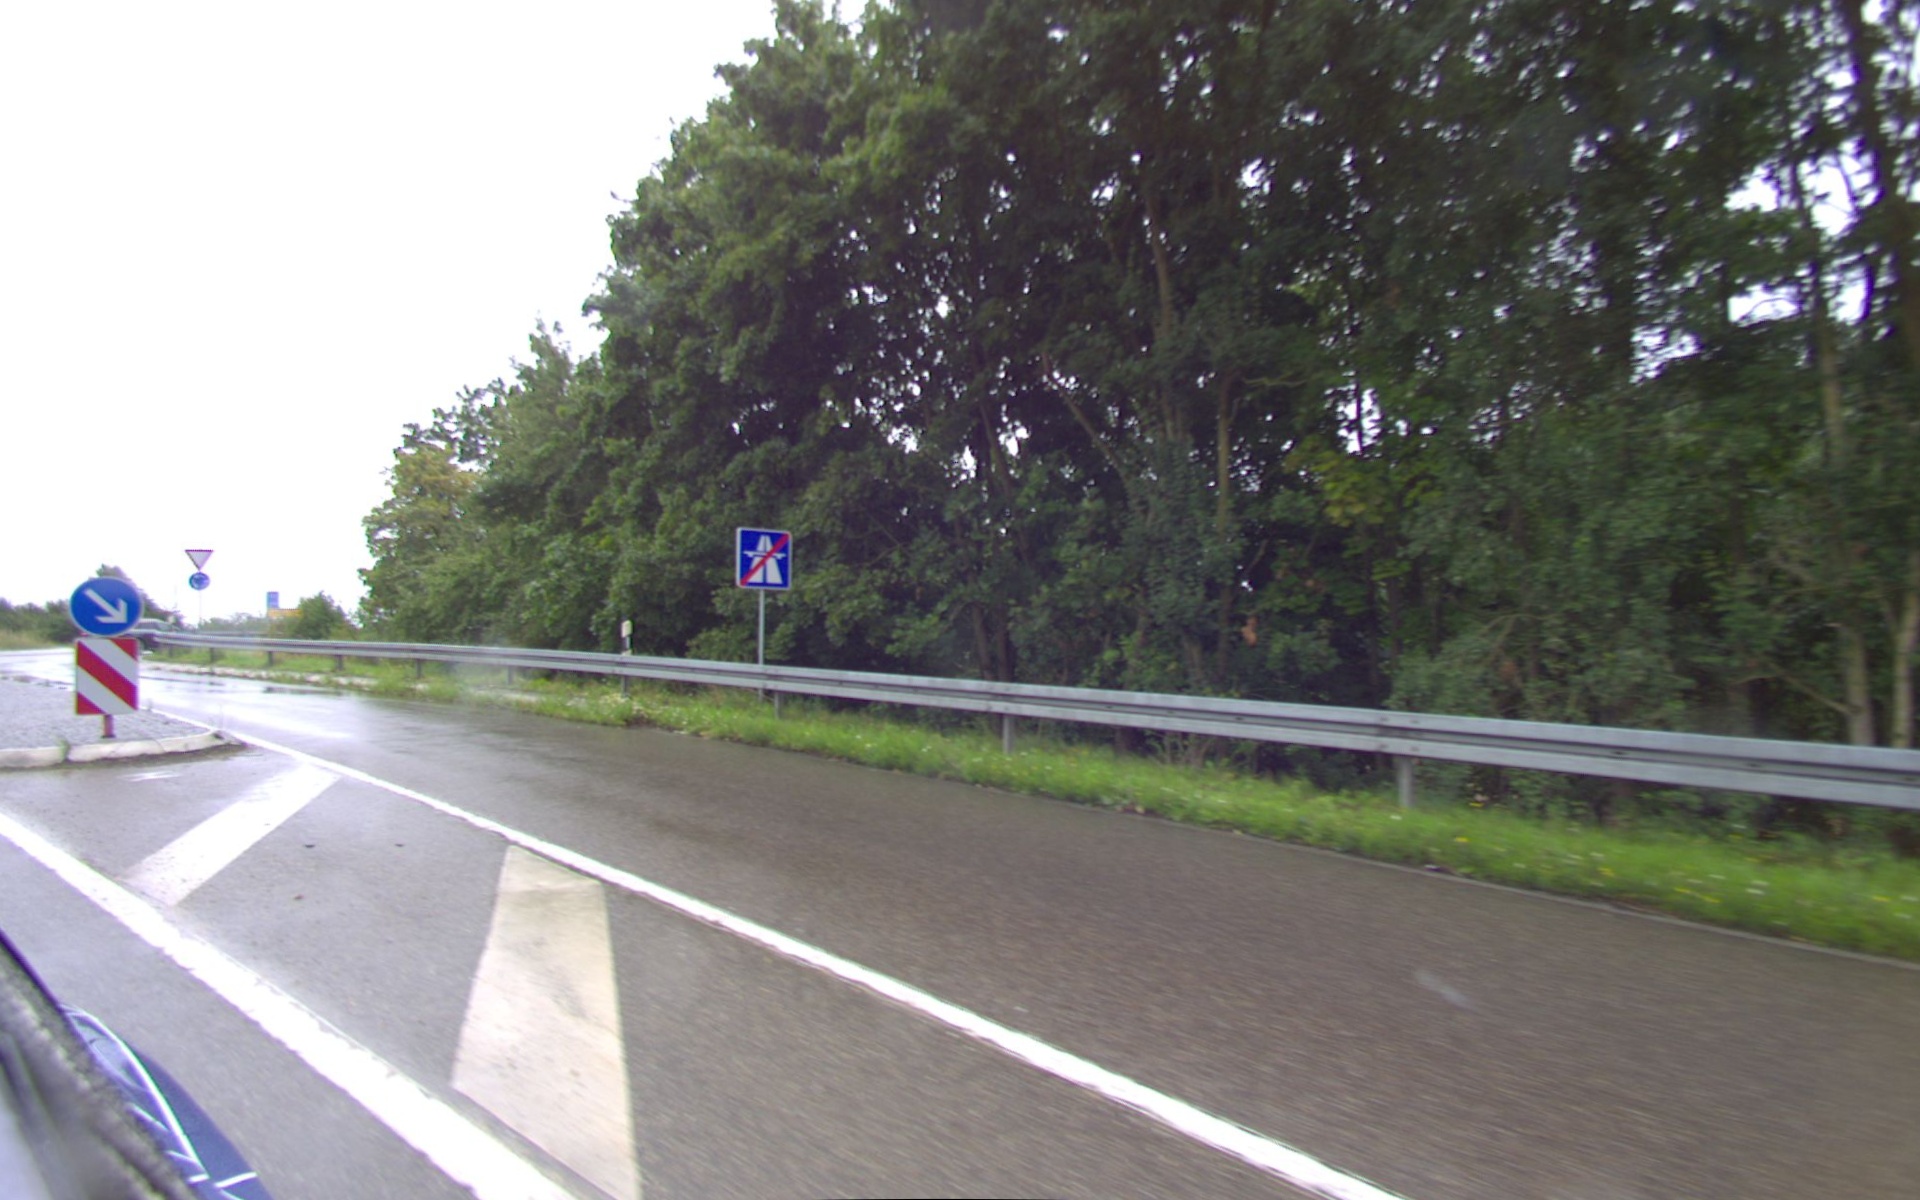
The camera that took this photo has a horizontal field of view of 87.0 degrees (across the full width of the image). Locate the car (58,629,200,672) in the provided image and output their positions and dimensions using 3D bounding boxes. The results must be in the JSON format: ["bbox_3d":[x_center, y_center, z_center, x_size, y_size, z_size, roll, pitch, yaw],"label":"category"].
[{"bbox_3d":[-33.187,1.988,40.614,1.885,1.379,4.563,1,1,1],"label":"car"}]
